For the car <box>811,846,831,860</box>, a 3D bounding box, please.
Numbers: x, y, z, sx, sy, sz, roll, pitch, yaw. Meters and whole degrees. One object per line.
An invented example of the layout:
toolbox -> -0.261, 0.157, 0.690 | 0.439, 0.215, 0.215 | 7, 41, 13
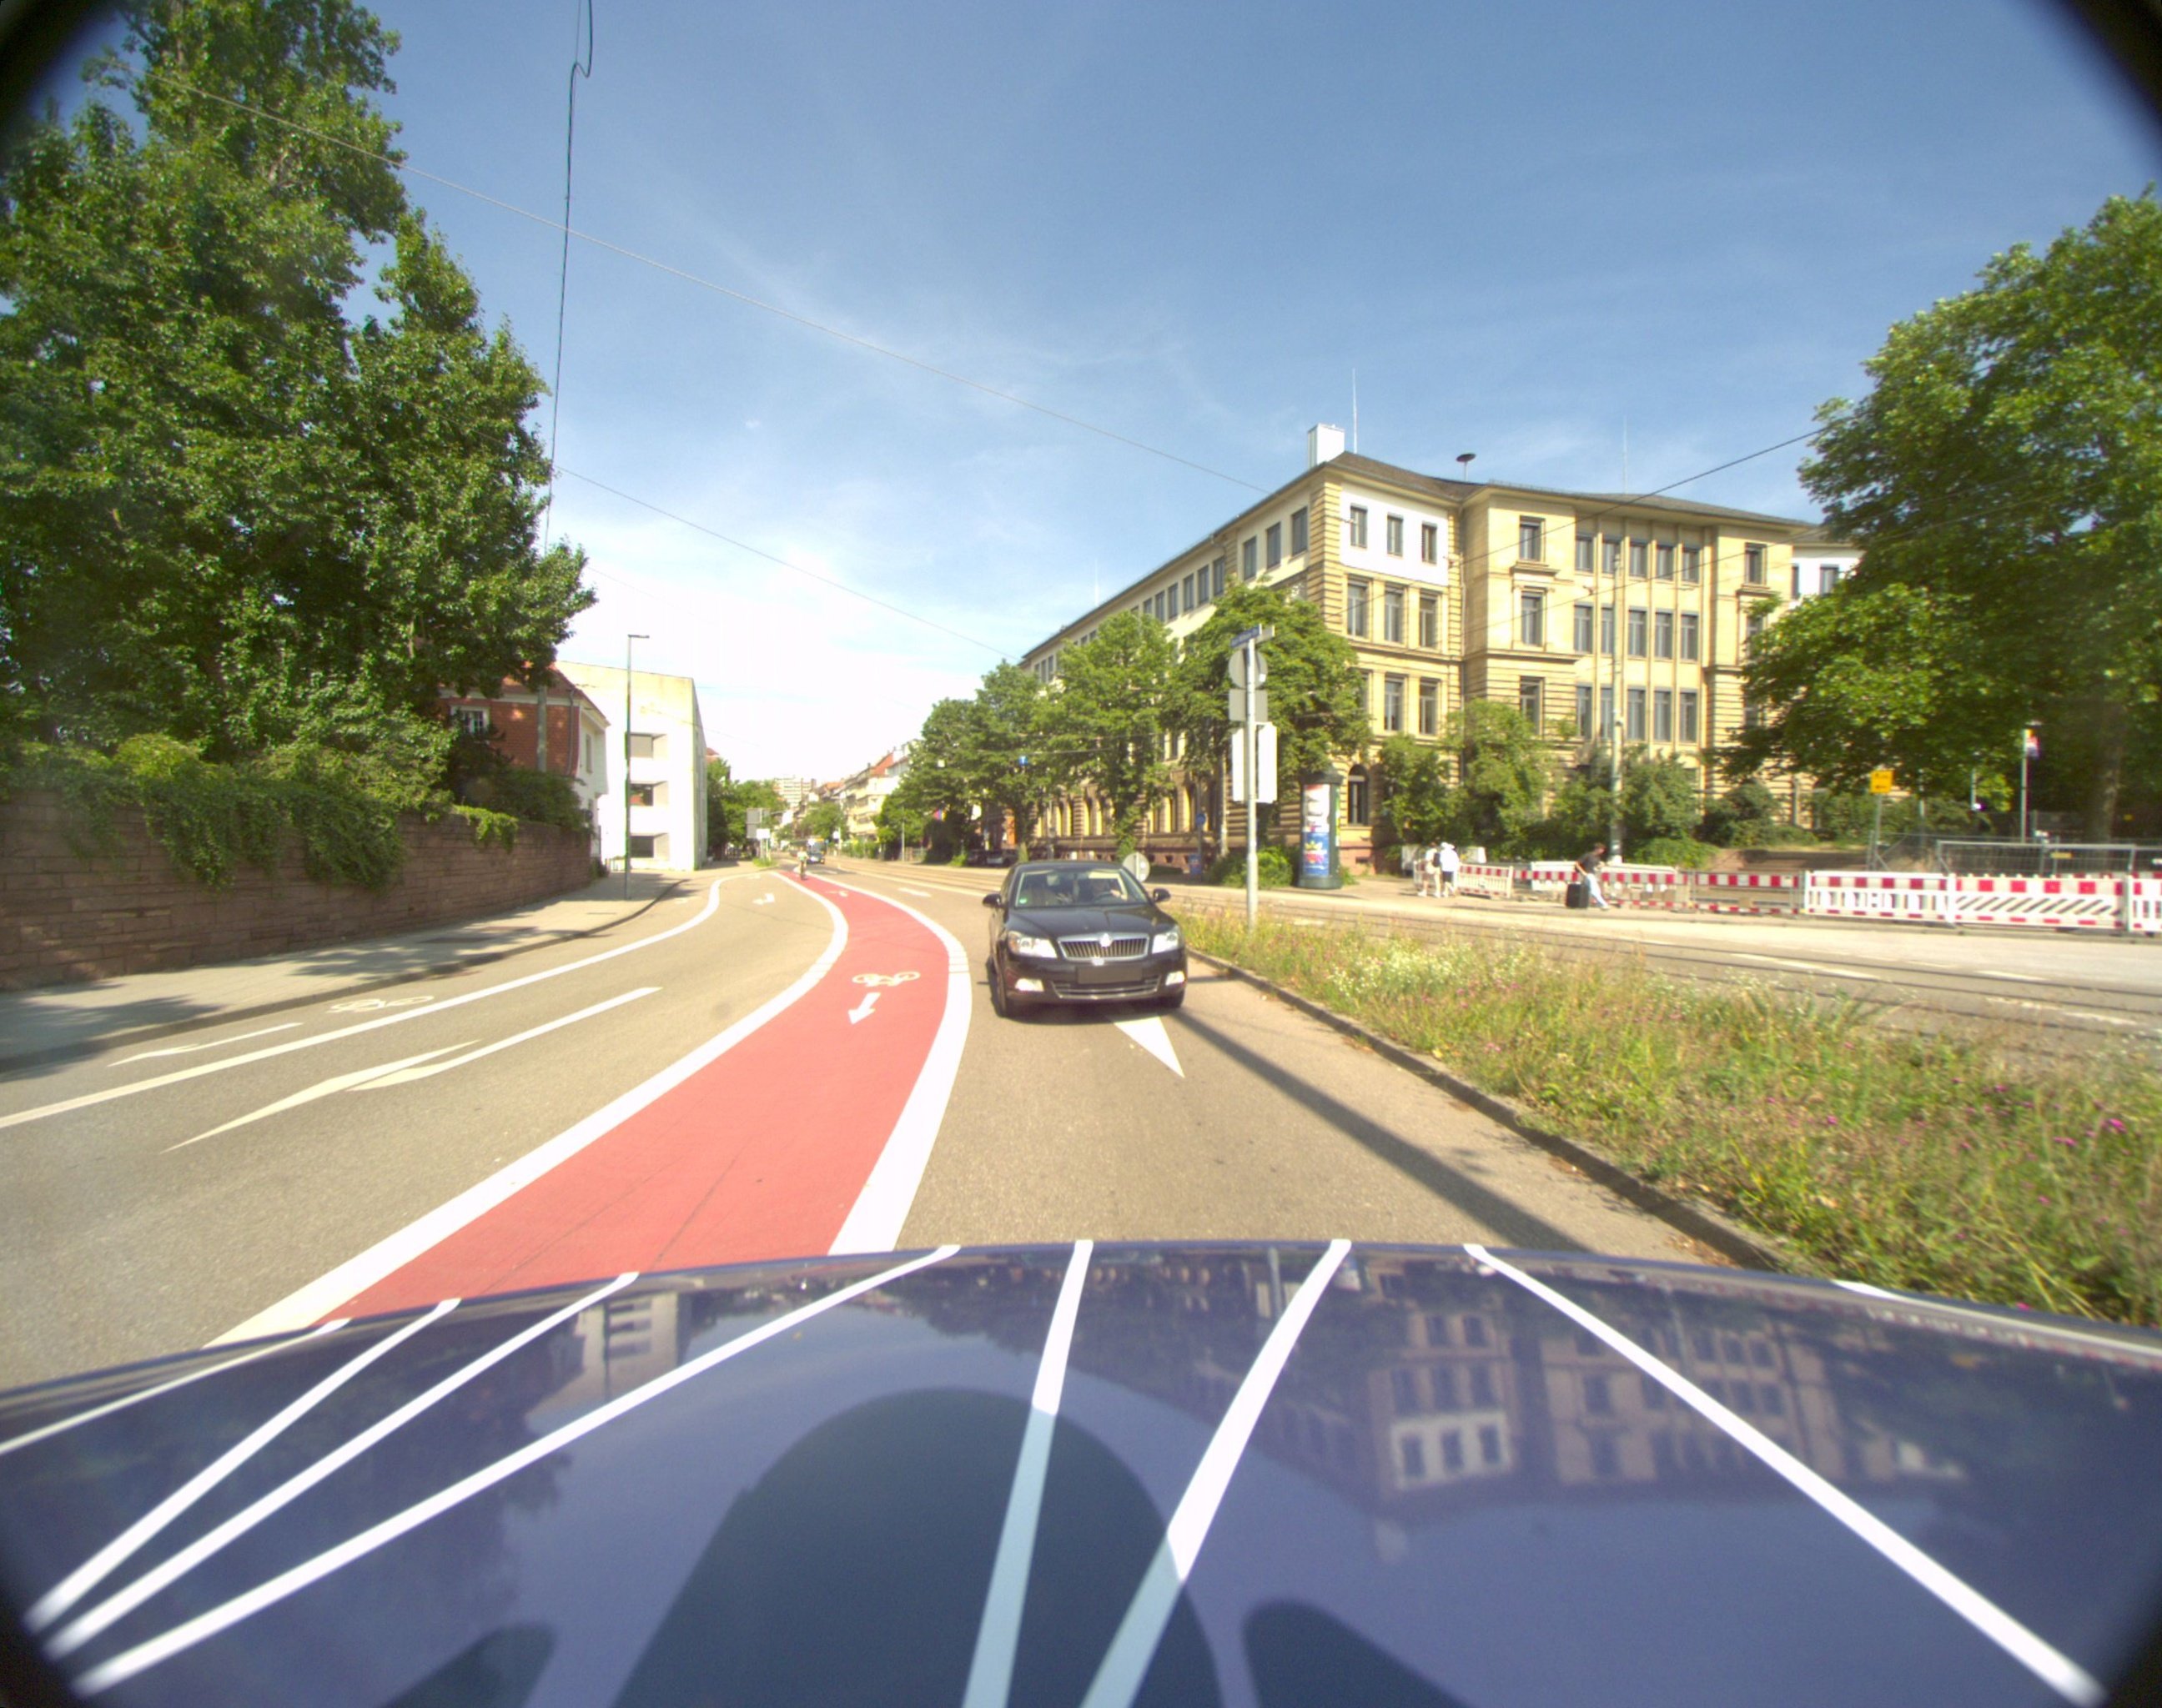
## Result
car -> -26.536, -0.075, 77.548 | 1.805, 1.368, 4.268 | 0, 1, -20

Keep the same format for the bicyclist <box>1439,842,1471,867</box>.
bicyclist -> 14.489, 0.012, 29.435 | 0.684, 0.922, 0.867 | -1, 1, -29

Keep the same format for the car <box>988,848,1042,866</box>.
car -> -5.535, 0.216, 63.491 | 4.005, 1.455, 1.995 | 0, 1, -26

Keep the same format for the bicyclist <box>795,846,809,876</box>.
bicyclist -> -14.433, 0.349, 39.311 | 0.589, 1.539, 0.930 | -3, 2, -22

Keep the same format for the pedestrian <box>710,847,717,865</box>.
pedestrian -> -31.086, 0.163, 64.306 | 0.550, 1.559, 0.929 | -1, 1, -25

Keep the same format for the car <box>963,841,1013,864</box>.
car -> -8.390, -0.123, 68.256 | 4.005, 2.002, 1.995 | 0, 1, -26

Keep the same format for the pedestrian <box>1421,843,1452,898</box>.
pedestrian -> 11.569, 0.529, 24.722 | 0.742, 1.740, 0.586 | 1, 2, 44

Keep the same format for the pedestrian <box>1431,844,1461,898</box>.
pedestrian -> 12.076, 0.555, 25.158 | 0.742, 1.740, 0.586 | 1, 2, 43

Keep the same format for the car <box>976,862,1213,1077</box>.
car -> -0.193, 0.914, 8.320 | 1.865, 1.510, 4.823 | 0, 1, -8

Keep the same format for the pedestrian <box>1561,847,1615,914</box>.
pedestrian -> 12.841, 0.650, 19.268 | 0.938, 1.646, 0.845 | 0, 1, 19

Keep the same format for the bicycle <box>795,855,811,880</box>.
bicycle -> -14.413, 0.668, 39.329 | 0.687, 1.215, 2.182 | 0, 1, -22

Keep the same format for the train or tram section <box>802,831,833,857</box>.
train or tram section -> -42.294, -1.604, 121.600 | 3.220, 3.838, 14.555 | 0, 1, -25
